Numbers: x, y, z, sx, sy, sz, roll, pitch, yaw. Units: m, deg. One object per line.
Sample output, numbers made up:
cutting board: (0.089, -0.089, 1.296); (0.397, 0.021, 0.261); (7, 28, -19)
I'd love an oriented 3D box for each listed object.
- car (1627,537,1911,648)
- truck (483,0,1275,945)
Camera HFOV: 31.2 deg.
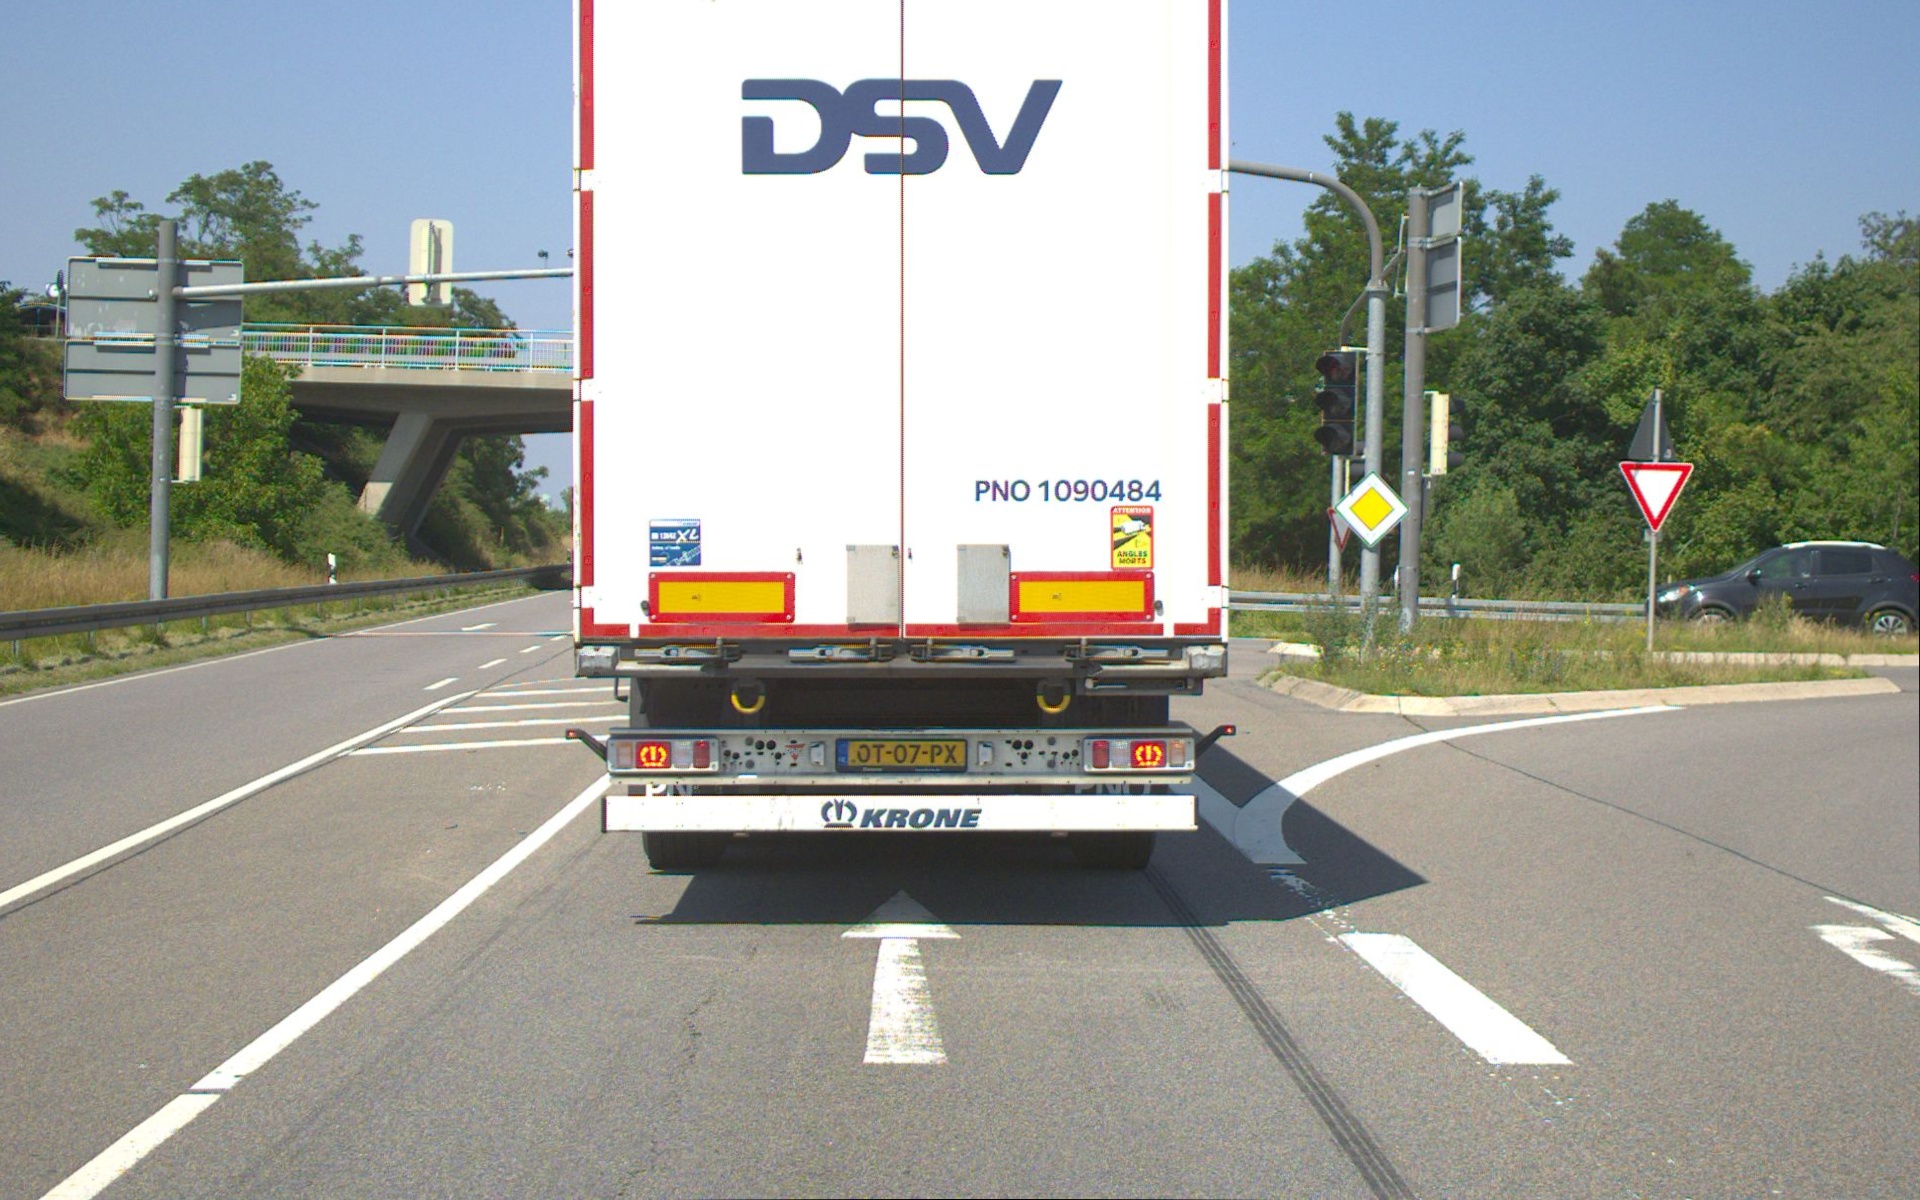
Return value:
car: (12.292, -0.120, 52.411); (3.986, 1.634, 1.841); (0, 0, 6)
truck: (-0.378, -0.721, 18.016); (2.987, 3.928, 9.876); (0, 1, -1)
